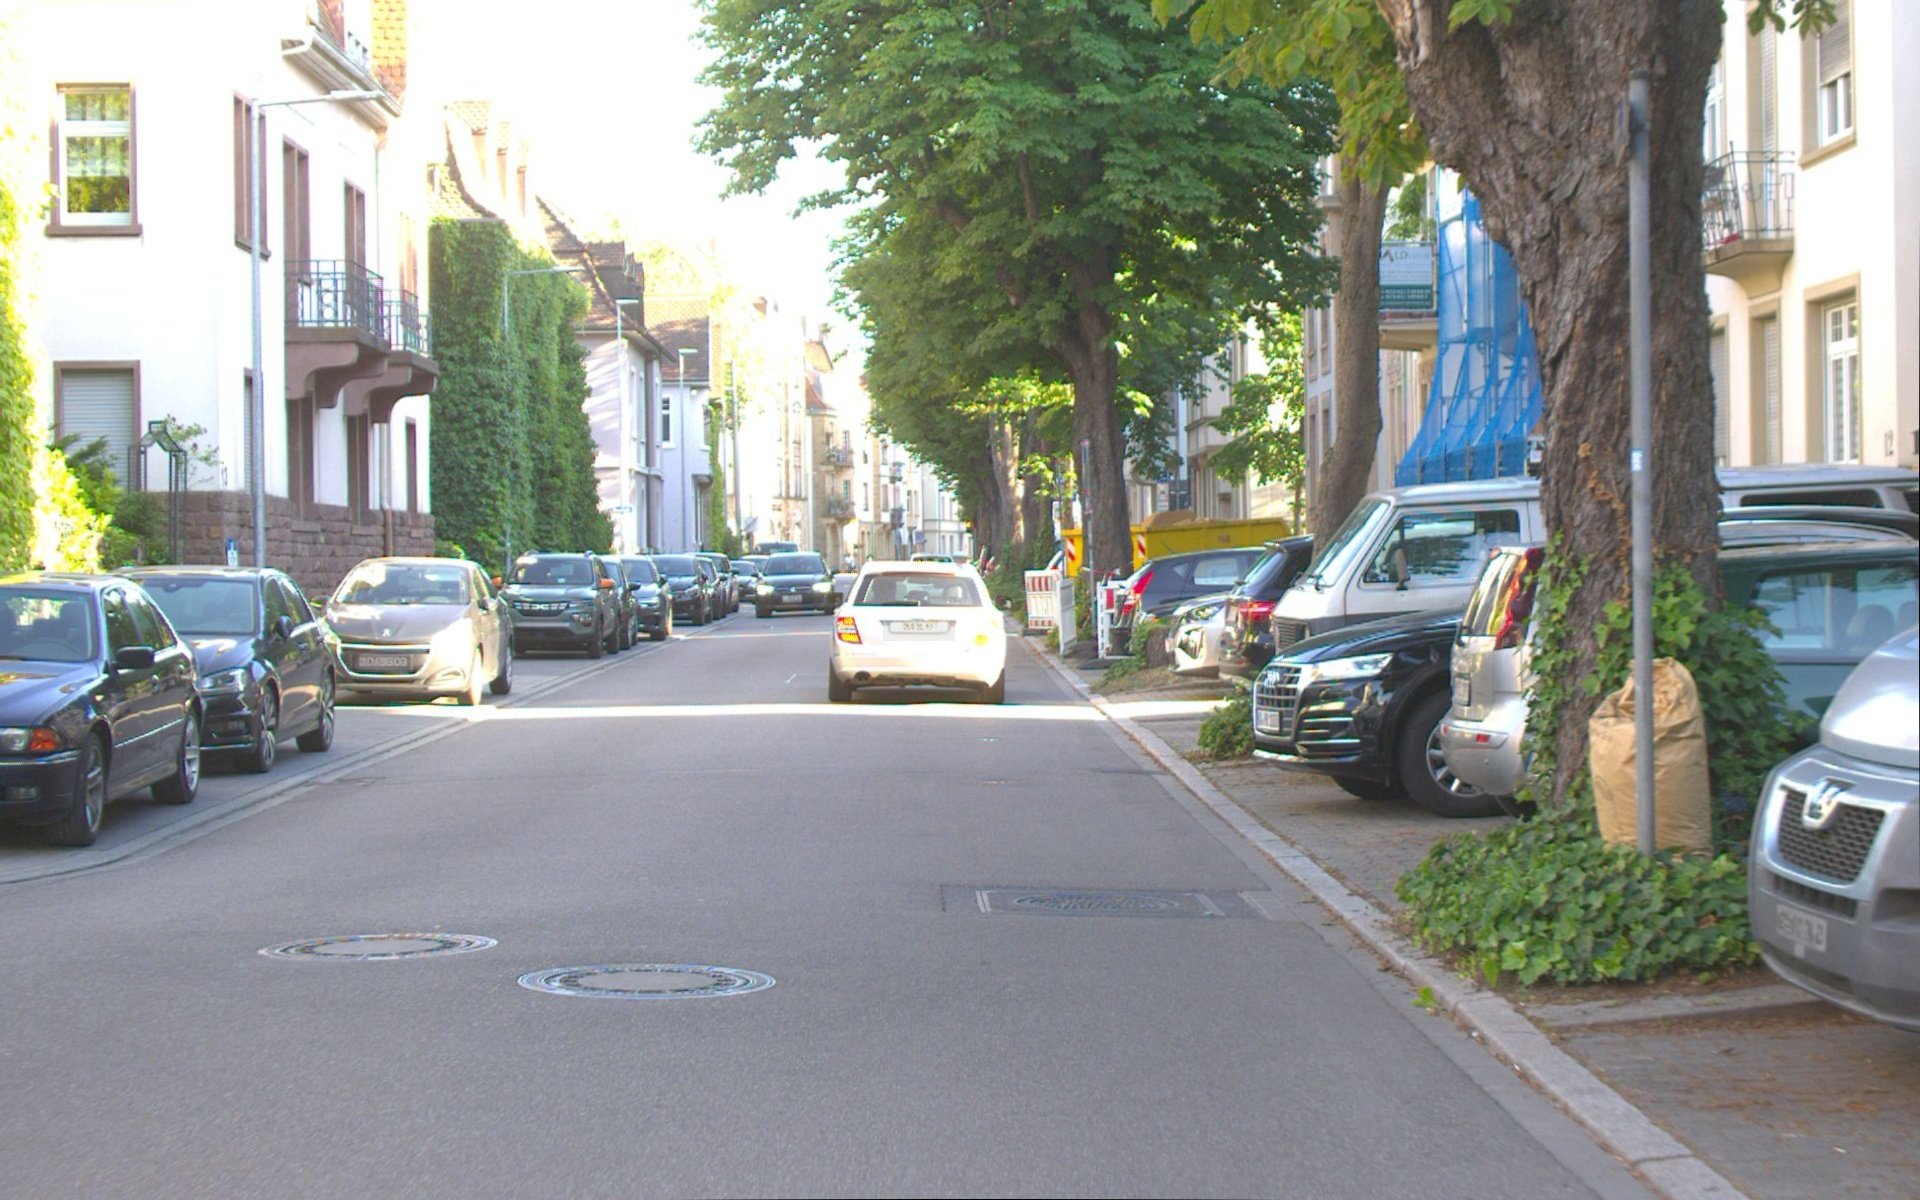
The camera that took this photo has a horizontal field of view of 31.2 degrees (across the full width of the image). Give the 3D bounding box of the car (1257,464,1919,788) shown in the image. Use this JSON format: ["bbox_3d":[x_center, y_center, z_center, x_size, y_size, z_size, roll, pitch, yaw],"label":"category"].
[{"bbox_3d":[4.298,0.147,22.536,4.469,2.007,1.896,0,1,-2],"label":"car"}]

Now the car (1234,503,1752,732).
[{"bbox_3d":[4.263,0.120,27.945,3.949,1.677,1.705,-2,1,3],"label":"car"}]

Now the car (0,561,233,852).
[{"bbox_3d":[-5.502,0.522,20.049,1.709,1.465,4.634,1,1,-2],"label":"car"}]

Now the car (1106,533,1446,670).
[{"bbox_3d":[3.835,0.004,42.264,3.987,1.487,1.851,-2,1,1],"label":"car"}]

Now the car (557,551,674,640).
[{"bbox_3d":[-5.948,-0.104,59.768,1.792,1.456,4.778,1,1,-3],"label":"car"}]

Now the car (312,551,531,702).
[{"bbox_3d":[-5.513,0.232,35.578,1.653,1.442,4.005,1,1,0],"label":"car"}]

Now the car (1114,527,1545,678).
[{"bbox_3d":[4.213,0.016,39.716,4.718,1.530,1.851,-2,1,0],"label":"car"}]

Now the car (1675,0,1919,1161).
[{"bbox_3d":[4.772,-0.158,9.457,5.094,2.892,2.076,-1,1,-2],"label":"car"}]

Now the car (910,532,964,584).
[{"bbox_3d":[-0.683,-1.296,105.145,1.623,1.564,3.680,0,1,0],"label":"car"}]

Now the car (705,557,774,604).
[{"bbox_3d":[-6.488,-0.575,101.415,1.653,1.319,4.045,1,0,2],"label":"car"}]

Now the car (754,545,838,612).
[{"bbox_3d":[-3.742,-0.513,78.996,1.772,1.443,4.000,-1,1,-1],"label":"car"}]

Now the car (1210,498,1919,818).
[{"bbox_3d":[3.700,0.306,20.078,4.174,1.718,1.766,-1,0,-8],"label":"car"}]

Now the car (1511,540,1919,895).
[{"bbox_3d":[4.424,0.471,14.933,3.720,1.426,1.759,-1,-1,-2],"label":"car"}]

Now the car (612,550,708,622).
[{"bbox_3d":[-6.182,-0.314,71.108,1.649,1.416,4.099,1,1,0],"label":"car"}]

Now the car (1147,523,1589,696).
[{"bbox_3d":[4.045,0.080,34.556,4.155,1.534,1.851,-2,1,0],"label":"car"}]

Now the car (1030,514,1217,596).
[{"bbox_3d":[3.919,-1.084,82.881,4.314,1.801,2.000,-2,1,-1],"label":"car"}]

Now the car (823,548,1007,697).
[{"bbox_3d":[-0.438,0.214,35.395,1.784,1.432,3.851,0,0,0],"label":"car"}]

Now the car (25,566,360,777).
[{"bbox_3d":[-5.648,0.470,25.759,1.653,1.410,4.168,1,1,-1],"label":"car"}]

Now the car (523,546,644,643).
[{"bbox_3d":[-5.883,-0.116,53.977,1.653,1.442,3.845,1,1,-3],"label":"car"}]

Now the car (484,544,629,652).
[{"bbox_3d":[-5.783,-0.060,49.631,1.653,1.480,3.764,1,1,0],"label":"car"}]

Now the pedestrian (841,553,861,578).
[{"bbox_3d":[-7.350,-2.326,231.106,1.221,1.716,1.503,1,1,3],"label":"pedestrian"}]

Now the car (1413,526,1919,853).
[{"bbox_3d":[4.300,0.416,17.492,3.720,1.549,1.639,-1,0,-2],"label":"car"}]

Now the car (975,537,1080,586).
[{"bbox_3d":[2.813,-1.607,144.110,4.219,1.890,1.906,-2,1,-2],"label":"car"}]

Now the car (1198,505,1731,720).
[{"bbox_3d":[4.335,0.084,29.965,4.331,1.677,1.706,-2,1,-1],"label":"car"}]
